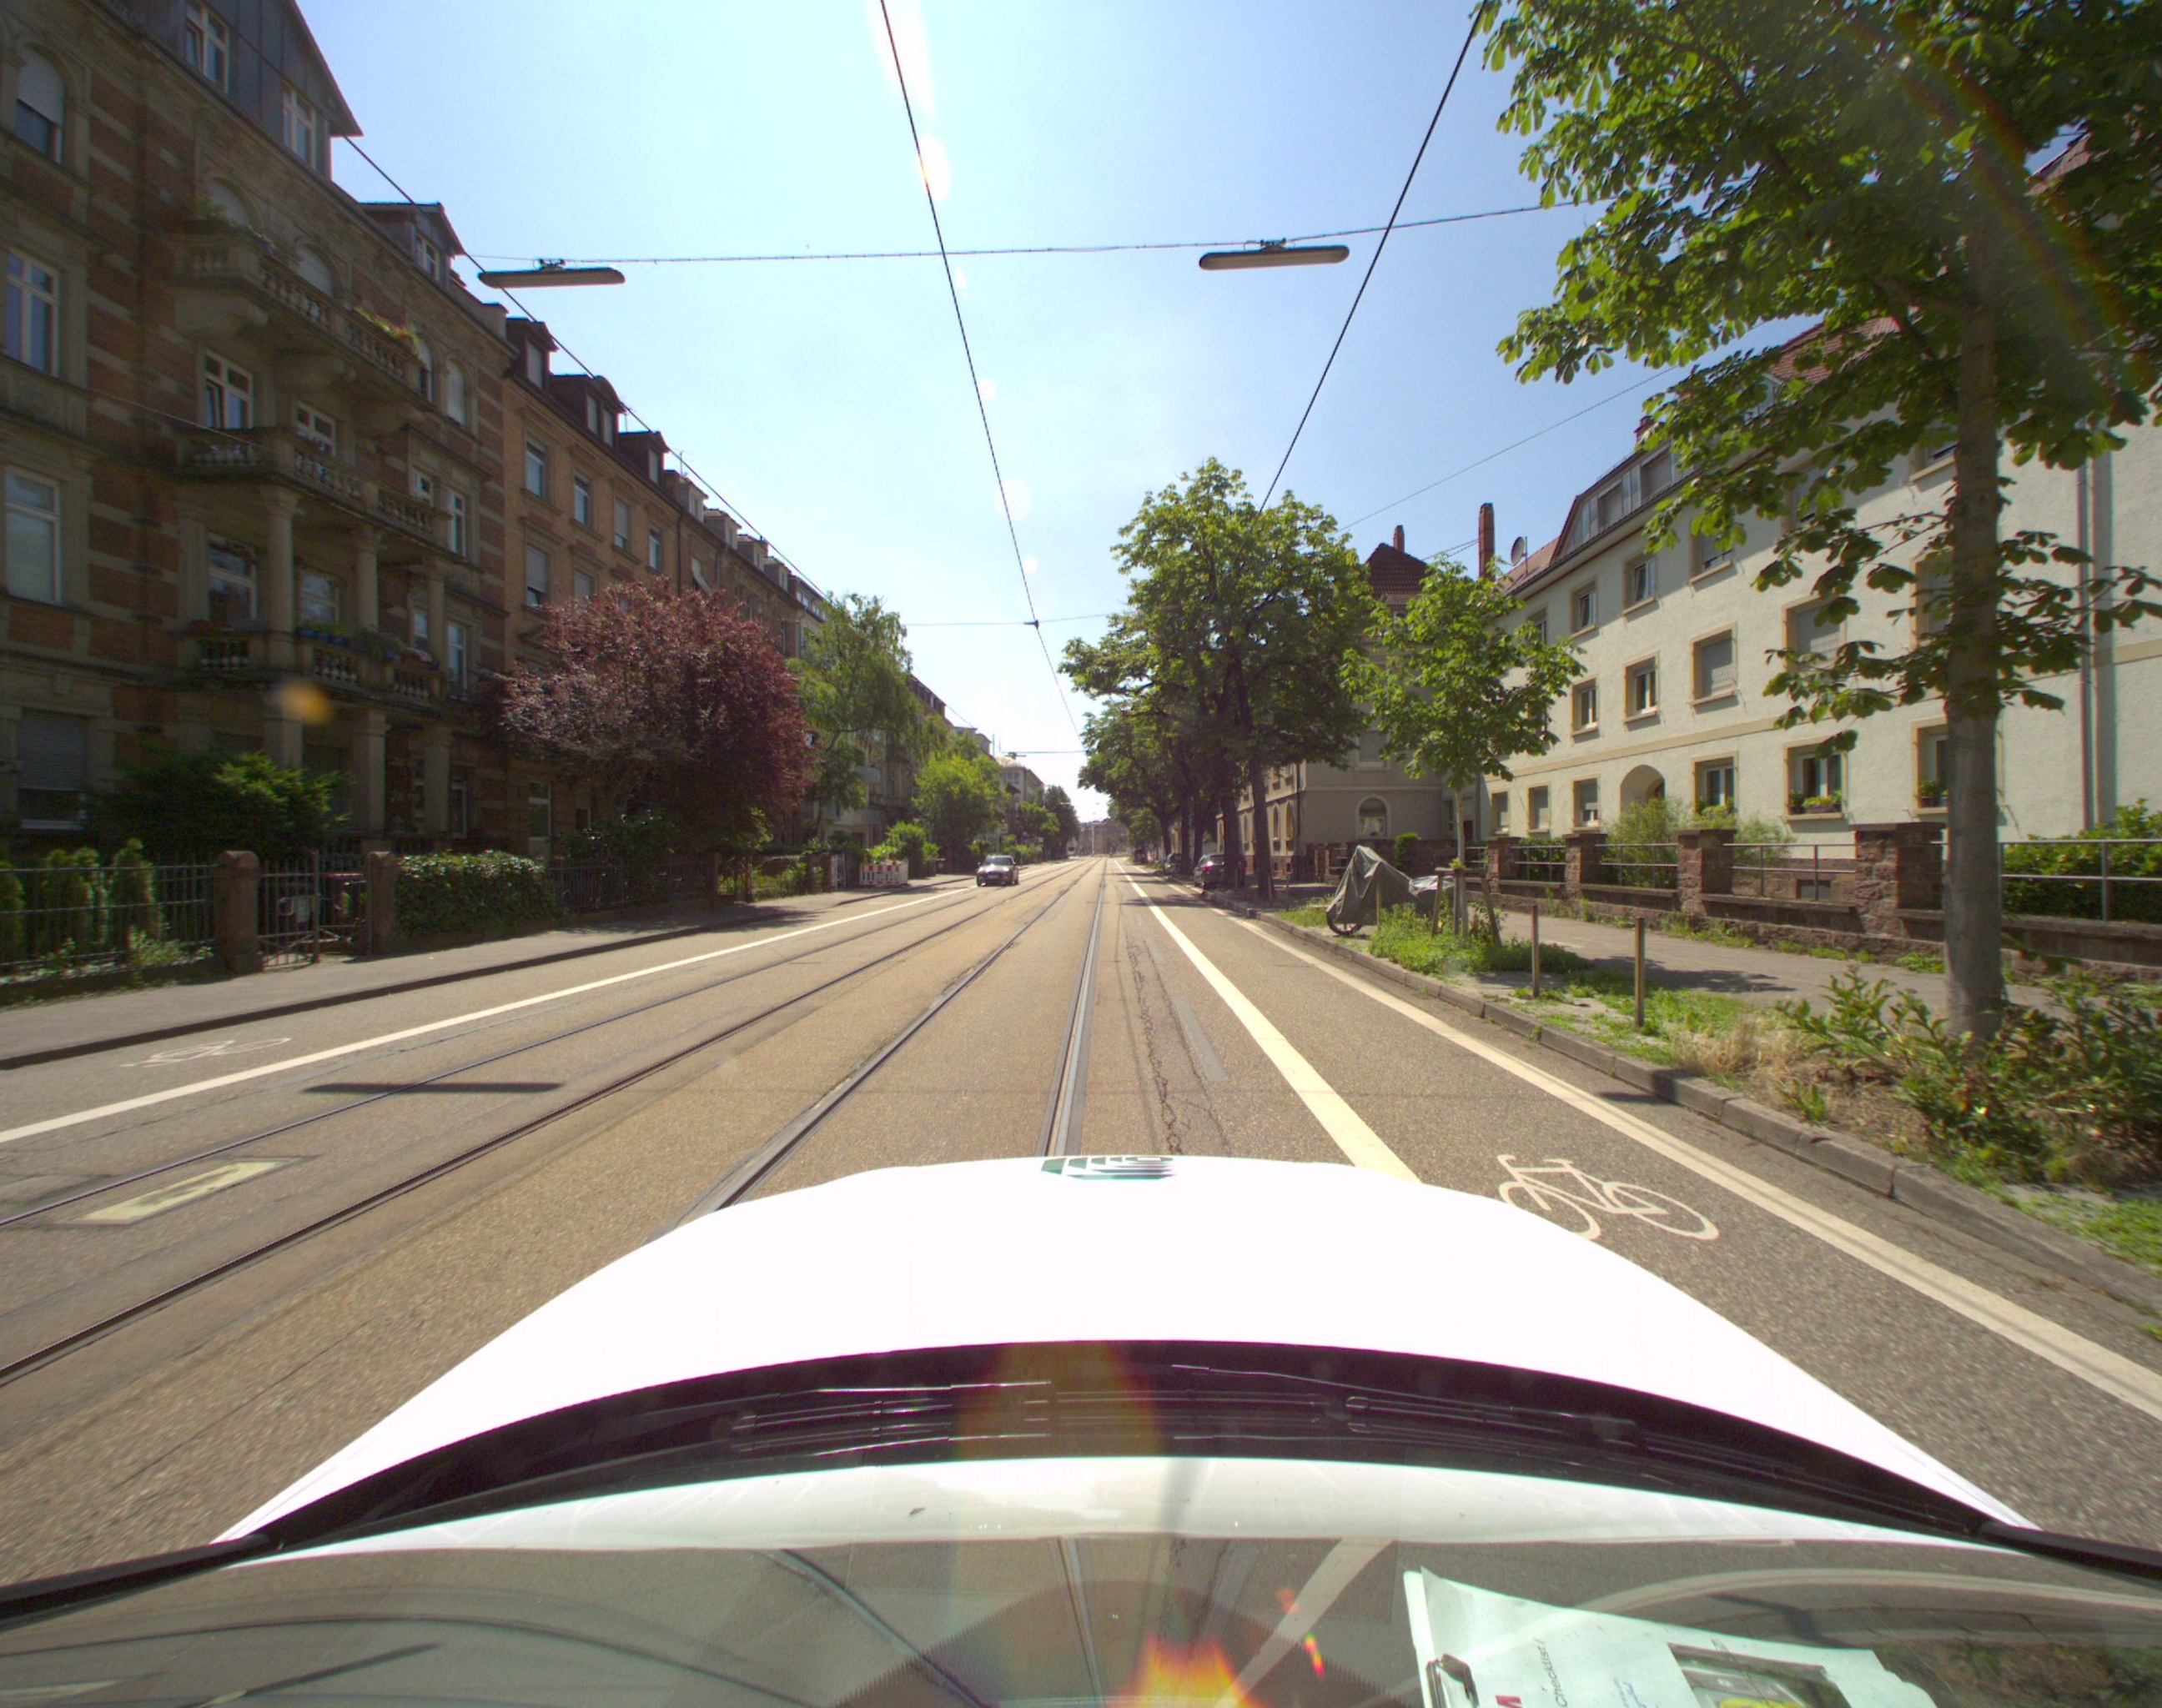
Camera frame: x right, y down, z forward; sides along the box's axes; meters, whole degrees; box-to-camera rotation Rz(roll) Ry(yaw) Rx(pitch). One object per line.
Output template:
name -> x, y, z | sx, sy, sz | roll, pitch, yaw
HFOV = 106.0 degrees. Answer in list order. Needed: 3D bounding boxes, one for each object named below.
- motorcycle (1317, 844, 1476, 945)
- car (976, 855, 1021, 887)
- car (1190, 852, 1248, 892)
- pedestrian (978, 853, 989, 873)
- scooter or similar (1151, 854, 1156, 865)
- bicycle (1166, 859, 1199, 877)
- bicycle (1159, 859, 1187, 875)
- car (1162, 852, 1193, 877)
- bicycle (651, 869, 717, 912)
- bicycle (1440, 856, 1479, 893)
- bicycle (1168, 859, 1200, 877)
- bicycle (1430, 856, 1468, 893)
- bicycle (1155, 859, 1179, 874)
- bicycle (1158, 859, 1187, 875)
motorcycle -> 5.193, 0.622, 13.531 | 2.291, 1.540, 0.874 | 0, 0, 44
car -> -3.965, 0.809, 39.806 | 1.680, 1.454, 3.750 | -1, 0, 2
car -> 5.883, 0.728, 35.136 | 1.768, 1.501, 4.306 | -2, 0, 1
pedestrian -> -8.025, 0.737, 67.311 | 0.747, 1.629, 0.834 | 0, 0, 3
scooter or similar -> 8.866, 0.666, 100.025 | 0.499, 1.230, 1.574 | 0, 0, 2
bicycle -> 6.176, 0.847, 49.462 | 1.952, 1.063, 0.600 | -1, -1, 8
bicycle -> 6.537, 0.934, 58.110 | 1.954, 1.113, 0.599 | -2, -1, 3
car -> 6.347, 0.693, 53.684 | 1.616, 1.448, 3.811 | -3, -1, 1
bicycle -> -11.578, 1.073, 23.791 | 1.610, 1.187, 0.508 | 2, 0, -12
bicycle -> 11.298, 0.594, 24.321 | 0.457, 1.056, 1.565 | -2, 0, 2
bicycle -> 6.190, 0.855, 49.042 | 1.879, 1.052, 0.539 | -1, -1, 8
bicycle -> 10.965, 0.587, 24.290 | 0.457, 1.056, 1.565 | -2, 0, 2
bicycle -> 6.696, 0.942, 63.278 | 1.809, 1.113, 0.493 | -2, -1, 1
bicycle -> 6.592, 0.935, 58.732 | 2.001, 1.113, 0.640 | -2, -1, 3
